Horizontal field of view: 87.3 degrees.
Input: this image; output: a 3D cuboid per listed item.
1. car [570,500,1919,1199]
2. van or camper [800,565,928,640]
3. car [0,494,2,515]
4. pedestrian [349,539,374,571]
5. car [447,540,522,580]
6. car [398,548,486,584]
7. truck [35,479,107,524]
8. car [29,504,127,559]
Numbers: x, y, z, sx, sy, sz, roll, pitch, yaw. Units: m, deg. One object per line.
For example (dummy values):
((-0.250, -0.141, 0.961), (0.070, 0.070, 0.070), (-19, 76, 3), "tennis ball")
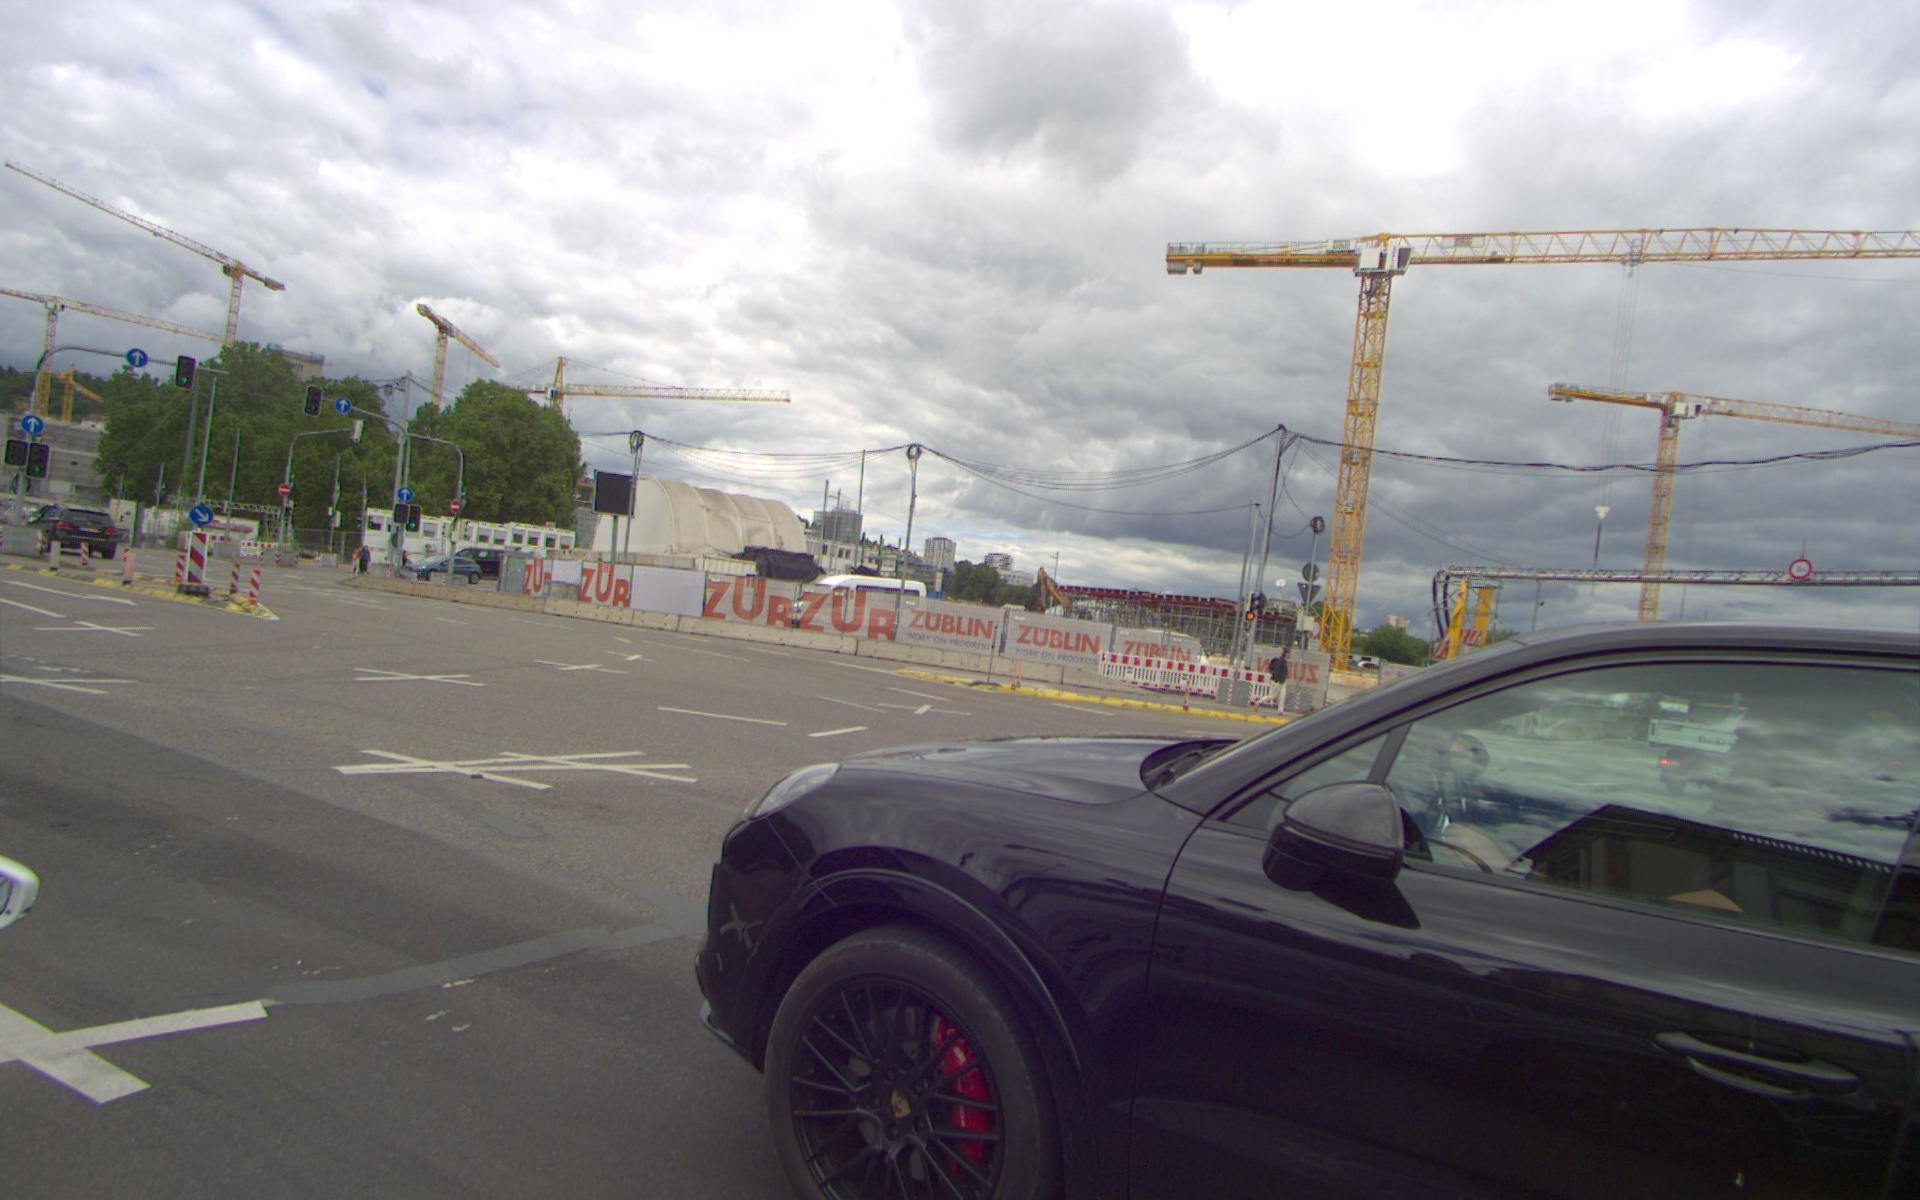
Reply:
((1.497, 0.854, 2.265), (4.531, 1.668, 1.953), (6, 0, 31), "car")
((-3.449, 0.094, 36.117), (3.953, 2.255, 1.985), (5, 1, -29), "van or camper")
((-45.395, -4.147, 46.044), (3.591, 1.707, 1.757), (5, -1, 40), "car")
((-31.738, -2.385, 53.326), (0.835, 1.612, 0.622), (6, 0, 21), "pedestrian")
((-31.222, -2.609, 66.235), (1.963, 2.037, 4.001), (7, -1, 22), "car")
((-28.751, -1.864, 55.935), (1.754, 1.453, 4.066), (7, -1, 24), "car")
((-41.782, -4.640, 47.264), (3.956, 1.701, 1.933), (7, -1, 41), "truck")
((-32.640, -2.537, 37.206), (3.587, 1.687, 1.938), (5, -1, 37), "car")
